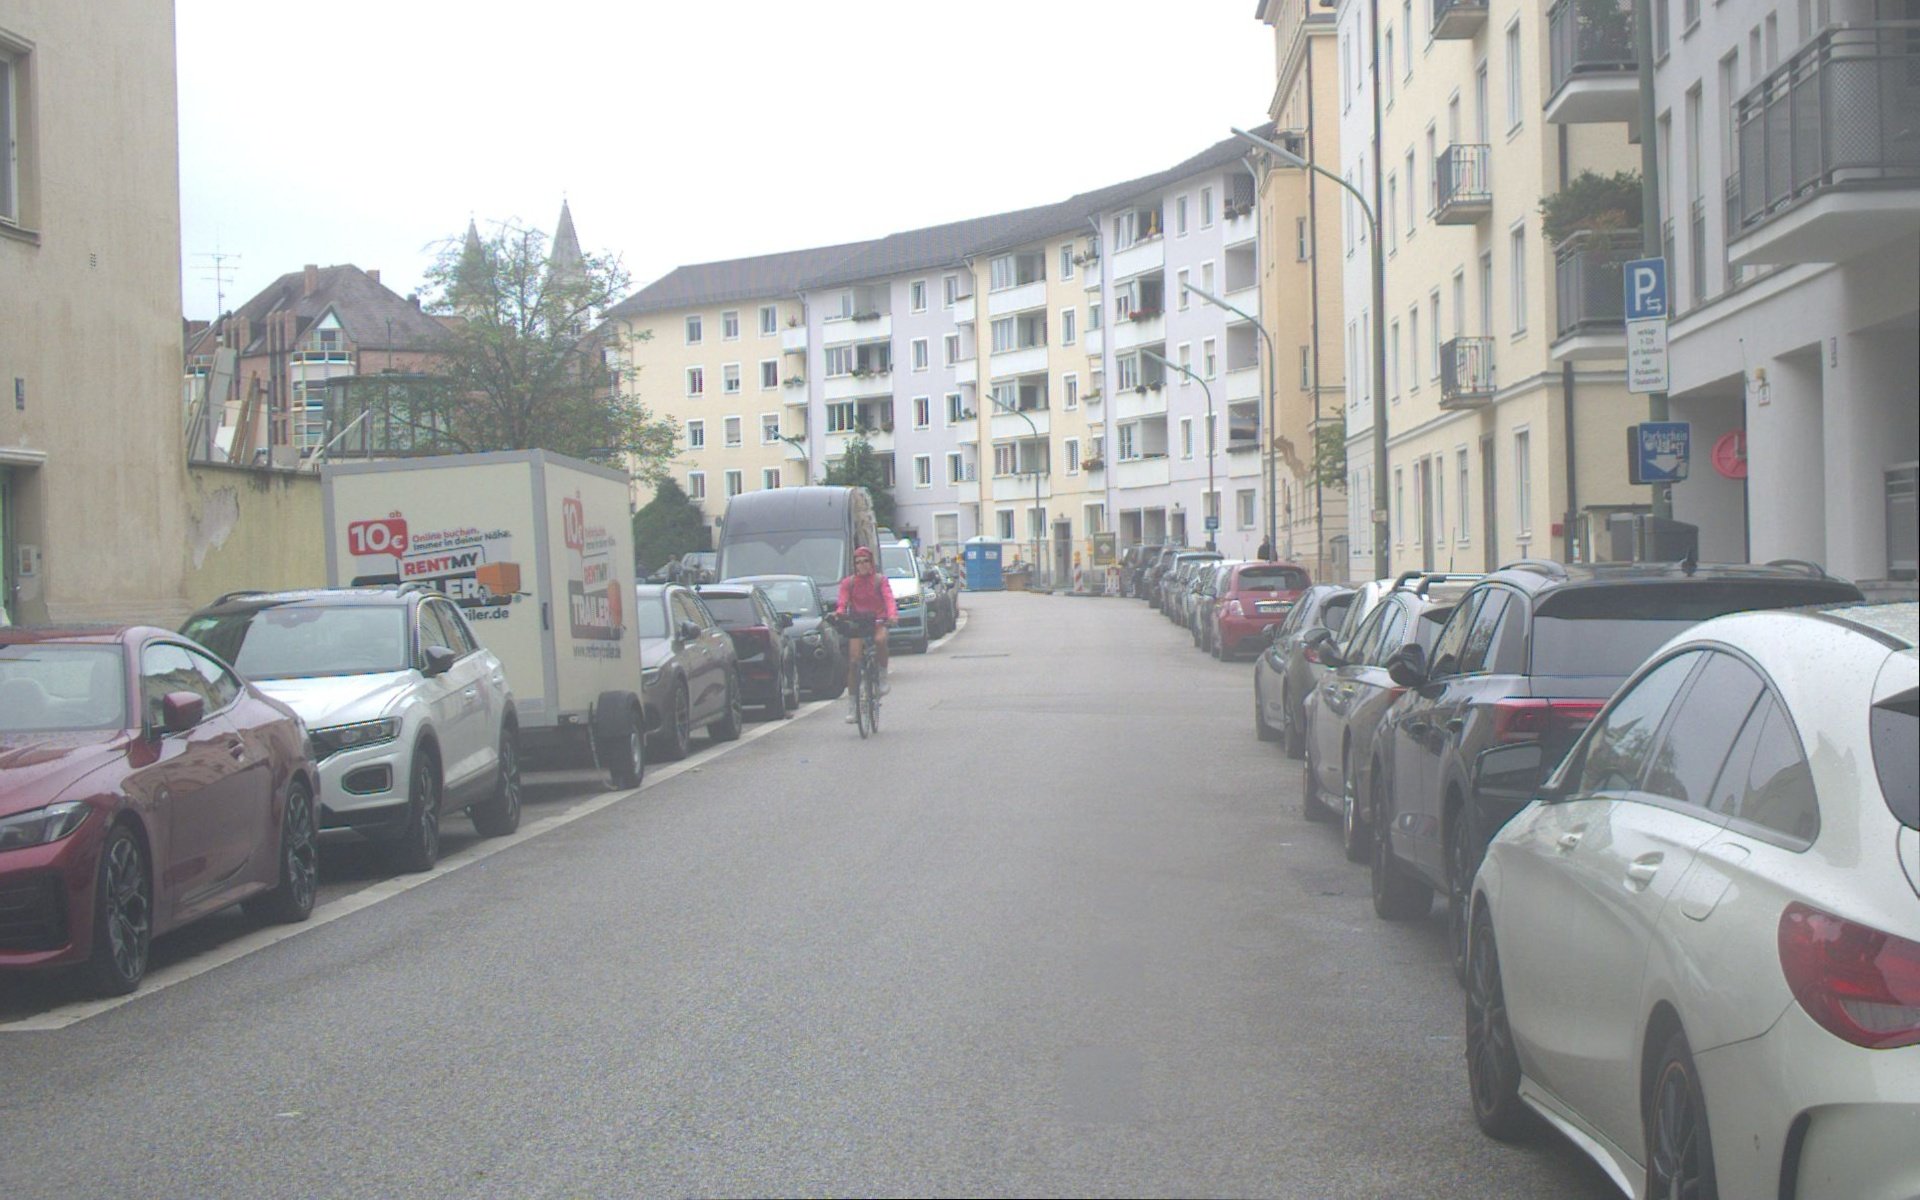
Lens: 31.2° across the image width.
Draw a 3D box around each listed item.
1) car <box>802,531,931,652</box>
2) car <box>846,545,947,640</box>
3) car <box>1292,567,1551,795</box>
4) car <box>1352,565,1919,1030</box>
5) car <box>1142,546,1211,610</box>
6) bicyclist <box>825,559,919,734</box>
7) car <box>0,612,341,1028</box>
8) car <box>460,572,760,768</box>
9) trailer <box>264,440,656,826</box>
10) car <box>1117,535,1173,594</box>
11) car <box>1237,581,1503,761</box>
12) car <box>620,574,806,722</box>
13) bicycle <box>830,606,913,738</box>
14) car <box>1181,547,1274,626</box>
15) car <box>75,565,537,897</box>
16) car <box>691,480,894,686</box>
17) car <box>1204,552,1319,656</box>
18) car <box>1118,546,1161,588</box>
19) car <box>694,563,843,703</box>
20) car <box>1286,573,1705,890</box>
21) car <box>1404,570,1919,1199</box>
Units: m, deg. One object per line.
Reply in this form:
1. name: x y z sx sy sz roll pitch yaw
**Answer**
1. car: -1.584 -0.183 59.974 1.883 1.925 4.601 -3 1 2
2. car: -1.203 -0.177 66.691 1.702 1.685 4.028 -3 1 2
3. car: 3.295 0.529 25.046 1.519 1.525 3.526 0 1 2
4. car: 2.549 0.648 13.636 1.604 1.525 3.984 1 1 2
5. car: 5.561 -0.586 88.597 1.590 1.577 4.299 0 1 1
6. bicyclist: -0.804 0.417 31.594 0.694 1.556 0.966 -2 1 6
7. car: -3.940 0.812 14.094 1.861 1.408 4.333 -3 0 1
8. car: -3.045 0.568 30.852 1.767 1.533 4.540 -3 0 5
9. trailer: -3.491 0.182 24.843 1.709 2.453 4.386 -3 1 5
10. car: 5.264 -1.025 98.325 1.474 1.635 4.001 0 1 1
11. car: 3.409 0.556 29.241 1.763 1.403 4.079 -1 0 0
12. car: -2.623 0.480 37.211 1.701 1.441 3.825 0 1 0
13. bicycle: -0.804 0.645 31.583 0.504 1.124 1.773 -2 1 6
14. car: 5.333 -0.292 68.869 1.599 1.486 3.799 -1 1 1
15. car: -3.598 0.654 19.604 1.687 1.597 3.921 -3 1 2
16. car: -2.231 -0.280 47.291 2.088 2.627 5.376 -1 1 4
17. car: 4.611 0.034 52.931 1.595 1.503 3.800 -1 1 3
18. car: 5.735 -1.066 110.047 1.272 1.294 2.797 -1 1 1
19. car: -2.301 0.366 41.963 1.585 1.533 3.544 -2 1 0
20. car: 2.899 0.641 19.525 1.734 1.525 4.621 1 1 2
21. car: 2.017 0.681 7.367 1.658 1.435 4.207 1 1 2
